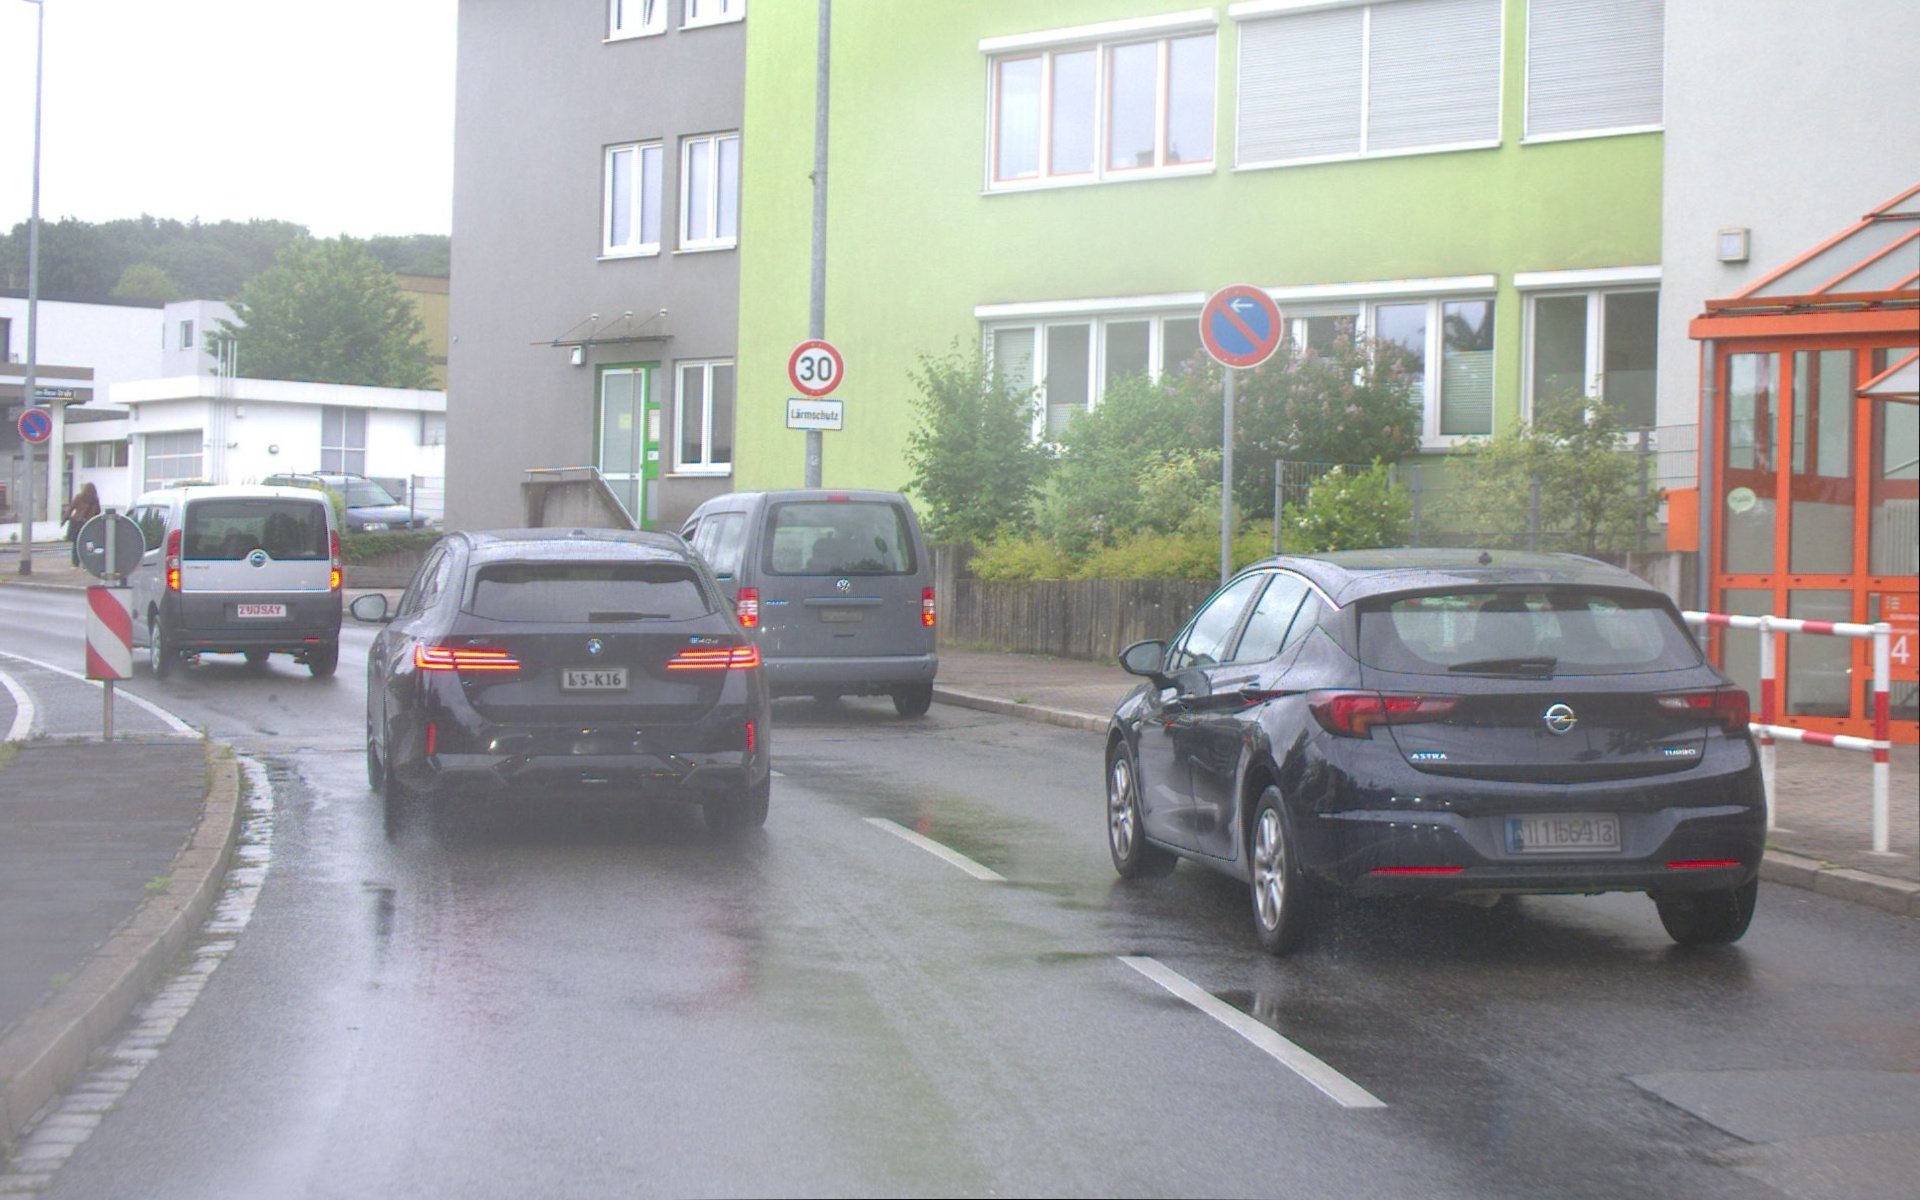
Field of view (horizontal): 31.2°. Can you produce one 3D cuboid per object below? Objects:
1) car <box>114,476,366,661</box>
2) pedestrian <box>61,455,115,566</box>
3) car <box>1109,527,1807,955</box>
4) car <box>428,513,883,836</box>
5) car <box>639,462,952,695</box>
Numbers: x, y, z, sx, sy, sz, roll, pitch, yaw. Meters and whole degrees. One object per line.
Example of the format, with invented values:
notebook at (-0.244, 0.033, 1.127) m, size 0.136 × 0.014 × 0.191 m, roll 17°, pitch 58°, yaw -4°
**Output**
car at (-7.262, -0.291, 34.392) m, size 1.993 × 1.731 × 4.001 m, roll 0°, pitch 0°, yaw -19°
pedestrian at (-15.914, -1.622, 62.719) m, size 0.614 × 2.007 × 0.716 m, roll 0°, pitch 0°, yaw 40°
car at (1.789, 0.469, 13.674) m, size 1.756 × 1.444 × 4.001 m, roll 0°, pitch 0°, yaw -7°
car at (-1.707, 0.346, 17.927) m, size 1.993 × 1.479 × 4.001 m, roll 0°, pitch 0°, yaw -10°
car at (-1.430, -0.161, 28.220) m, size 1.838 × 1.761 × 4.001 m, roll 0°, pitch 0°, yaw -14°
